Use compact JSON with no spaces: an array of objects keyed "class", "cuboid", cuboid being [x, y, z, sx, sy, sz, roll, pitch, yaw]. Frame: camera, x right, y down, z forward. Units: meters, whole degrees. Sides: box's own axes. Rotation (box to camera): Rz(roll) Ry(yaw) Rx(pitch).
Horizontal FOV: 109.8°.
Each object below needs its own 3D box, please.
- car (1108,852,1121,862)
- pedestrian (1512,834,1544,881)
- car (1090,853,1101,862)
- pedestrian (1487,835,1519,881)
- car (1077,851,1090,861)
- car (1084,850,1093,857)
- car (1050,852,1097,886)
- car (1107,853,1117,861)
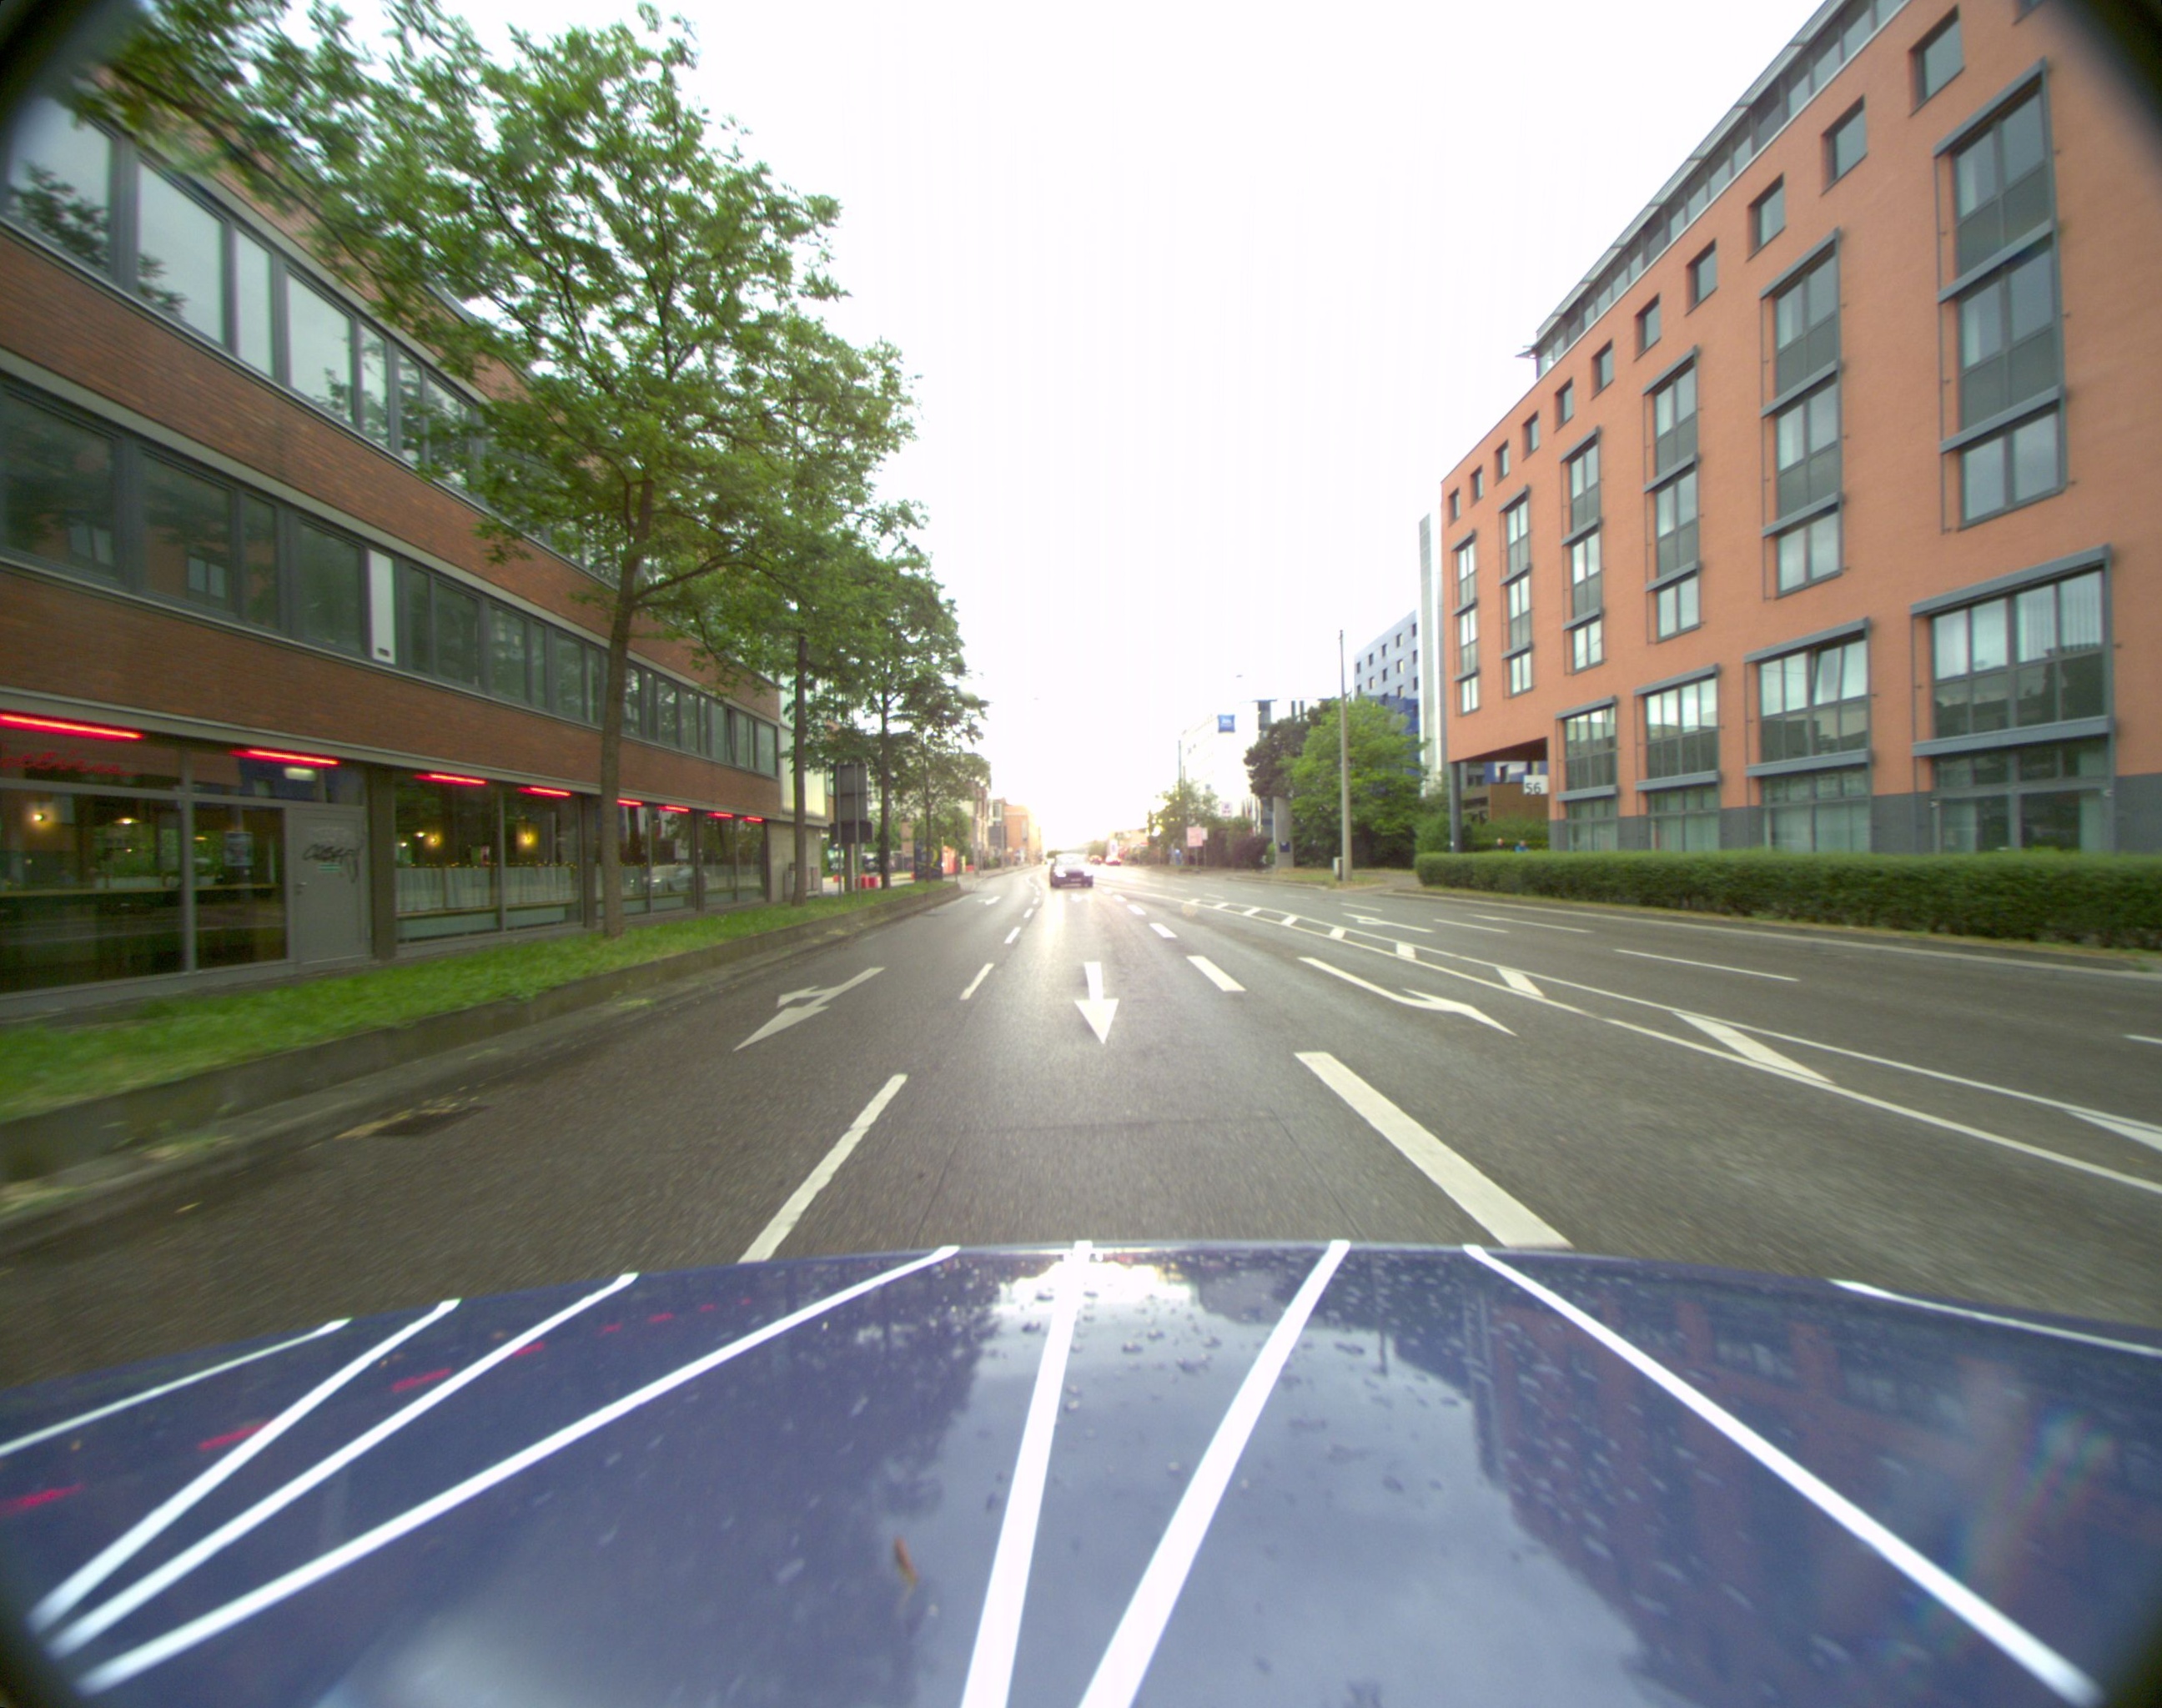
[{"class":"car","cuboid":[5.800,0.529,131.122,1.767,1.559,3.999,1,0,-3]},{"class":"pedestrian","cuboid":[18.148,0.145,30.868,0.747,1.830,0.885,-3,1,-1]},{"class":"car","cuboid":[2.690,0.604,140.033,1.999,1.543,3.999,-1,0,0]},{"class":"pedestrian","cuboid":[17.259,0.169,31.089,0.747,1.830,0.885,-3,1,-1]},{"class":"car","cuboid":[0.413,0.350,129.988,1.999,1.543,3.999,-1,0,0]},{"class":"car","cuboid":[1.759,-0.063,183.477,1.999,1.543,3.999,-1,0,0]},{"class":"car","cuboid":[-0.477,0.770,40.433,1.999,1.656,5.422,-1,0,-6]},{"class":"car","cuboid":[6.013,0.517,147.762,1.767,1.559,3.999,1,0,-2]}]
